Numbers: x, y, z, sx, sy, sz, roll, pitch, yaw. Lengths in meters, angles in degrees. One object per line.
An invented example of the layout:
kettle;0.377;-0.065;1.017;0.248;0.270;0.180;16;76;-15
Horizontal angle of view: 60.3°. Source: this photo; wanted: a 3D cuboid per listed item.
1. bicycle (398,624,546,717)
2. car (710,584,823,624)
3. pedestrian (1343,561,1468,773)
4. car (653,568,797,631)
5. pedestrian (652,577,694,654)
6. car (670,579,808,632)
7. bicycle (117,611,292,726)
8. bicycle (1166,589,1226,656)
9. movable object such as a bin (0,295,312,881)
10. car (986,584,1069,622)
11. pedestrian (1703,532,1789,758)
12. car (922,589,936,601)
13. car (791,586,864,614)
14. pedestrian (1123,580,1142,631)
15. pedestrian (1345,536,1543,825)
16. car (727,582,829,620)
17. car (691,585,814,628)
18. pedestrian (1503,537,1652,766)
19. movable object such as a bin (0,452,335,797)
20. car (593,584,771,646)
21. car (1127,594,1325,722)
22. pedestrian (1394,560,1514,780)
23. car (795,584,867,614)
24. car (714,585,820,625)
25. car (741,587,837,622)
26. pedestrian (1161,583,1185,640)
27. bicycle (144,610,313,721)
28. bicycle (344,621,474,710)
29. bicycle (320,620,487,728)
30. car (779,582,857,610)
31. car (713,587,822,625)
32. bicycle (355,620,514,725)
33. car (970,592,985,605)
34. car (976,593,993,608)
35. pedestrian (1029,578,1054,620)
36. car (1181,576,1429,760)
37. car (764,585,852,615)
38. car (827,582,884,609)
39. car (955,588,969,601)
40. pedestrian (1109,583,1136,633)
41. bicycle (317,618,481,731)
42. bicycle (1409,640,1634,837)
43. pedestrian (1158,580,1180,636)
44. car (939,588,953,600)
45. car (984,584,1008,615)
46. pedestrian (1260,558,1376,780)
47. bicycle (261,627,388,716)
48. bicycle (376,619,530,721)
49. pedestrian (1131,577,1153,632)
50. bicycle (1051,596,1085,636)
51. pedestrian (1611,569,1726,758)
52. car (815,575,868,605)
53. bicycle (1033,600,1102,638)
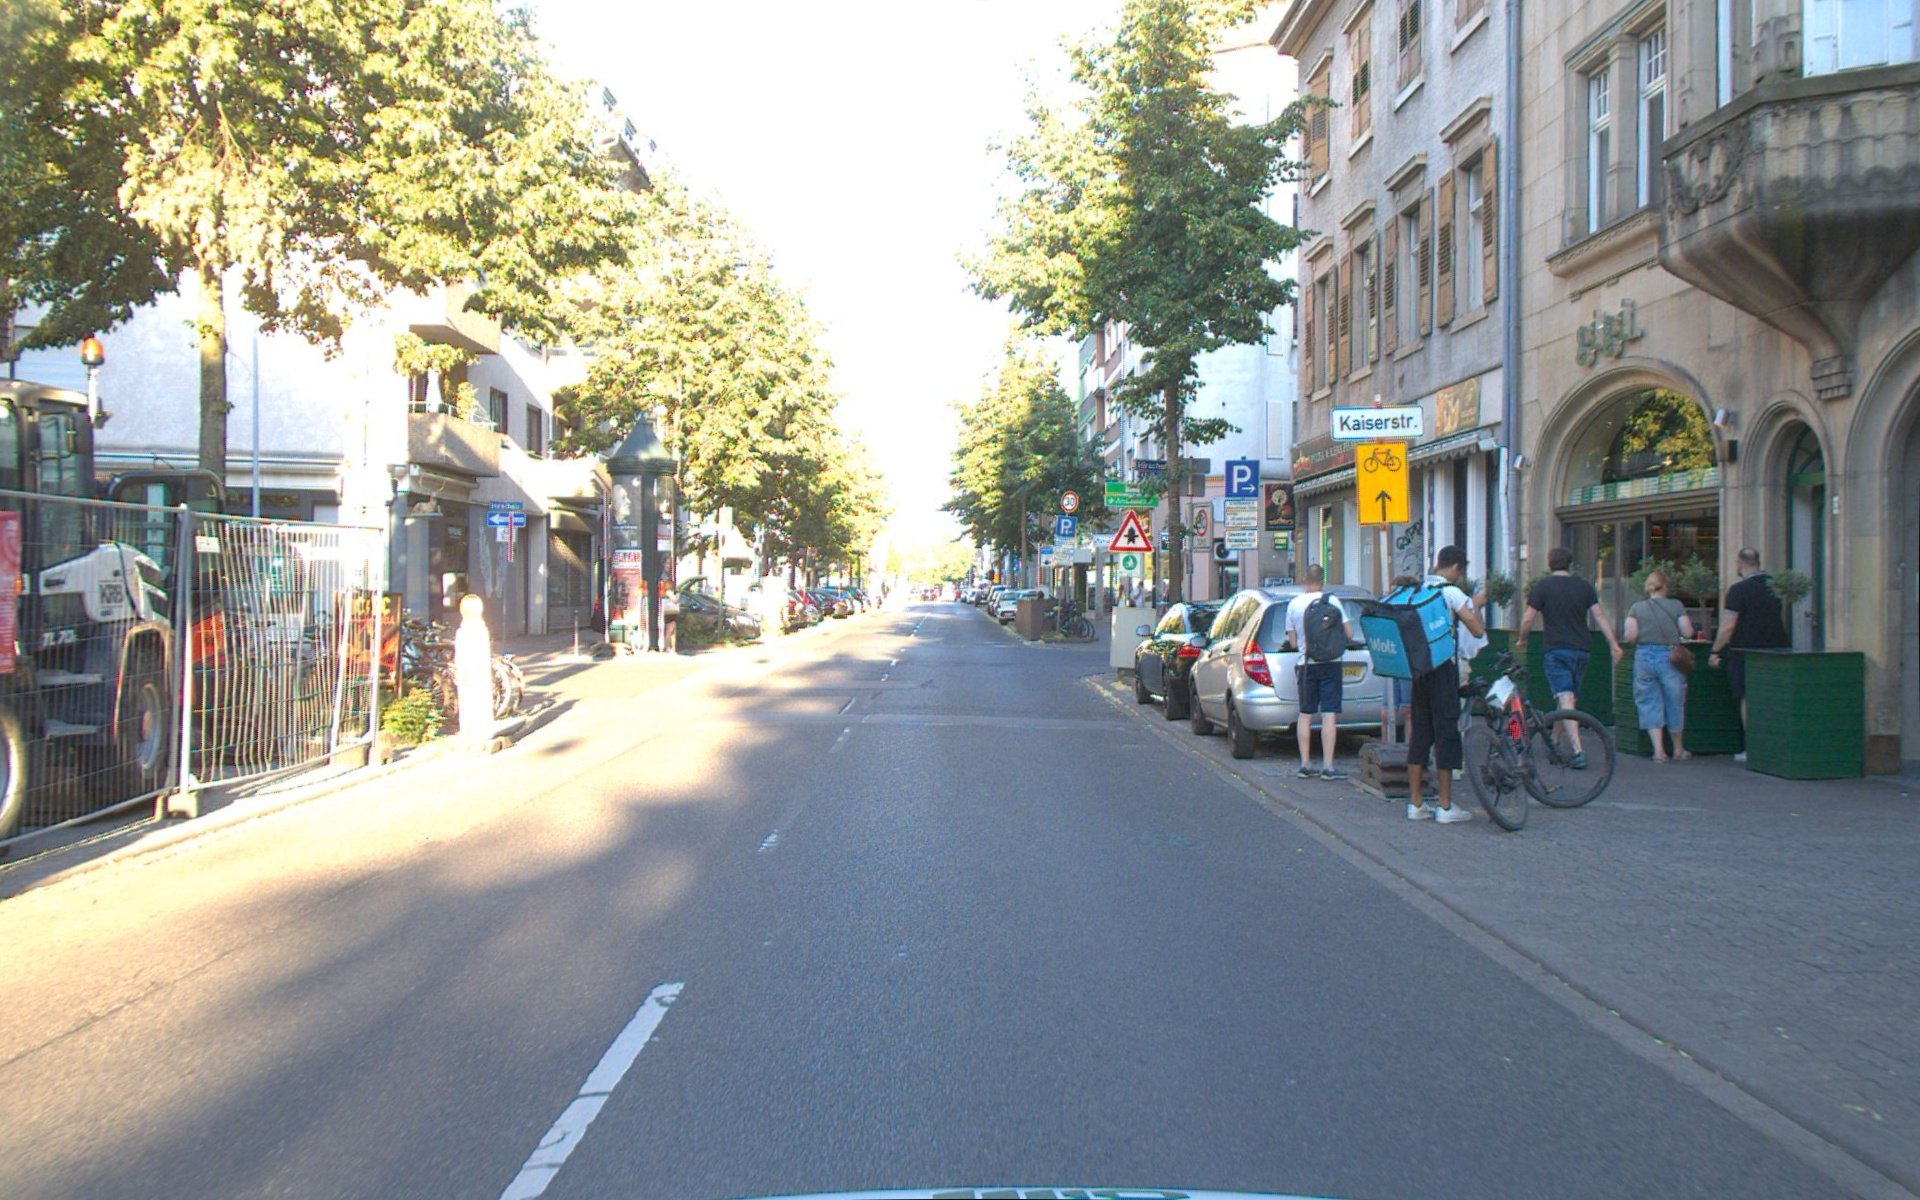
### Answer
bicycle;-5.975;0.851;20.282;1.647;1.039;0.445;3;-1;7
car;-7.815;0.164;67.144;4.351;1.510;1.809;1;0;0
pedestrian;3.818;0.554;14.217;0.666;1.735;0.822;-2;0;-15
car;-7.754;-0.018;54.831;4.478;1.996;1.990;1;0;-1
pedestrian;-6.441;0.338;37.169;0.695;1.716;0.834;0;0;8
car;-7.657;0.191;57.524;4.478;1.727;2.060;1;0;0
bicycle;-8.055;0.719;17.658;1.647;1.169;0.444;1;-1;3
bicycle;4.166;0.386;29.328;0.762;1.131;1.899;-1;0;-1
movable object such as a bin;-6.255;-0.077;10.059;2.571;3.021;5.302;0;0;-1
car;3.031;0.121;73.566;1.646;1.616;3.800;1;0;42
pedestrian;6.789;0.377;14.296;0.452;1.908;0.499;-1;1;-16
car;-4.027;-0.624;213.270;1.716;1.567;3.304;0;0;1
car;-8.072;-0.013;100.941;4.215;1.626;1.919;1;0;0
pedestrian;5.786;0.179;55.496;0.617;1.709;0.892;0;0;7
pedestrian;3.285;0.522;11.288;0.995;1.857;0.778;-2;0;-10
car;-8.156;0.042;74.432;4.351;1.595;1.919;1;0;0
car;-7.803;0.250;62.501;4.351;1.532;1.844;1;0;0
pedestrian;5.366;0.425;14.434;0.806;1.886;1.097;-2;0;-2
movable object such as a bin;-8.074;0.173;12.751;2.273;2.539;5.719;0;0;42
car;-7.389;0.394;44.297;4.454;1.568;1.810;1;0;-2
car;3.343;0.673;21.616;1.749;1.399;4.523;-2;1;-1
pedestrian;4.035;0.553;13.505;0.648;1.730;0.657;-2;0;-45
car;-8.013;-0.064;103.044;4.351;1.789;1.919;1;0;0
car;-8.396;0.212;72.199;4.351;1.667;1.859;1;0;0
car;-8.137;0.197;79.146;4.351;1.595;1.919;1;0;0
pedestrian;6.175;0.318;47.958;0.555;1.611;0.663;-1;1;0
bicycle;-8.089;0.722;18.306;1.647;1.169;0.444;1;-1;3
bicycle;-6.923;0.821;20.832;1.458;1.077;0.470;1;-1;-7
bicycle;-6.173;0.814;18.378;1.649;1.097;0.444;3;-1;-1
car;-8.270;-0.256;96.540;4.351;1.549;1.919;1;0;0
car;-8.051;0.234;69.446;4.351;1.484;1.859;1;0;0
bicycle;-6.024;0.825;18.971;1.647;1.097;0.445;3;-1;7
car;1.822;-0.131;171.152;1.482;1.285;3.304;1;0;1
car;2.258;0.050;152.999;1.482;1.298;3.304;1;0;1
pedestrian;3.817;-0.052;77.269;0.900;1.959;1.015;2;0;-11
car;3.409;0.598;17.056;1.652;1.602;4.013;-2;0;0
car;-7.838;-0.006;85.672;4.351;1.474;1.919;1;0;0
car;-8.242;-0.355;130.425;4.351;1.994;1.919;1;0;0
car;0.226;-0.632;205.436;1.716;1.567;3.304;0;0;1
pedestrian;5.374;0.253;54.728;0.779;1.654;0.913;0;0;12
bicycle;-5.921;0.792;17.490;1.530;1.136;0.439;3;-1;-34
bicycle;3.846;0.880;11.224;0.850;1.118;1.918;-1;1;38
pedestrian;6.157;0.234;48.721;0.555;1.627;0.663;-1;1;0
car;-1.756;-0.786;209.212;1.685;1.501;3.304;0;0;1
car;2.278;-0.036;105.423;1.482;1.897;4.235;1;0;1
pedestrian;2.971;0.550;13.775;0.665;1.785;0.823;0;0;-11
bicycle;-7.444;0.832;19.400;1.296;0.997;0.444;1;-1;3
bicycle;-5.986;0.818;19.556;1.647;1.097;0.445;3;-1;7
pedestrian;6.149;0.131;55.834;0.683;1.836;0.892;0;0;8
bicycle;3.291;0.468;50.219;0.585;1.198;1.847;0;0;19
pedestrian;6.188;0.541;14.474;0.645;1.589;0.701;-2;0;-1
car;-10.071;-0.850;140.426;4.351;2.477;1.919;1;0;0
bicycle;3.160;0.557;48.756;1.918;1.092;0.704;1;0;31
